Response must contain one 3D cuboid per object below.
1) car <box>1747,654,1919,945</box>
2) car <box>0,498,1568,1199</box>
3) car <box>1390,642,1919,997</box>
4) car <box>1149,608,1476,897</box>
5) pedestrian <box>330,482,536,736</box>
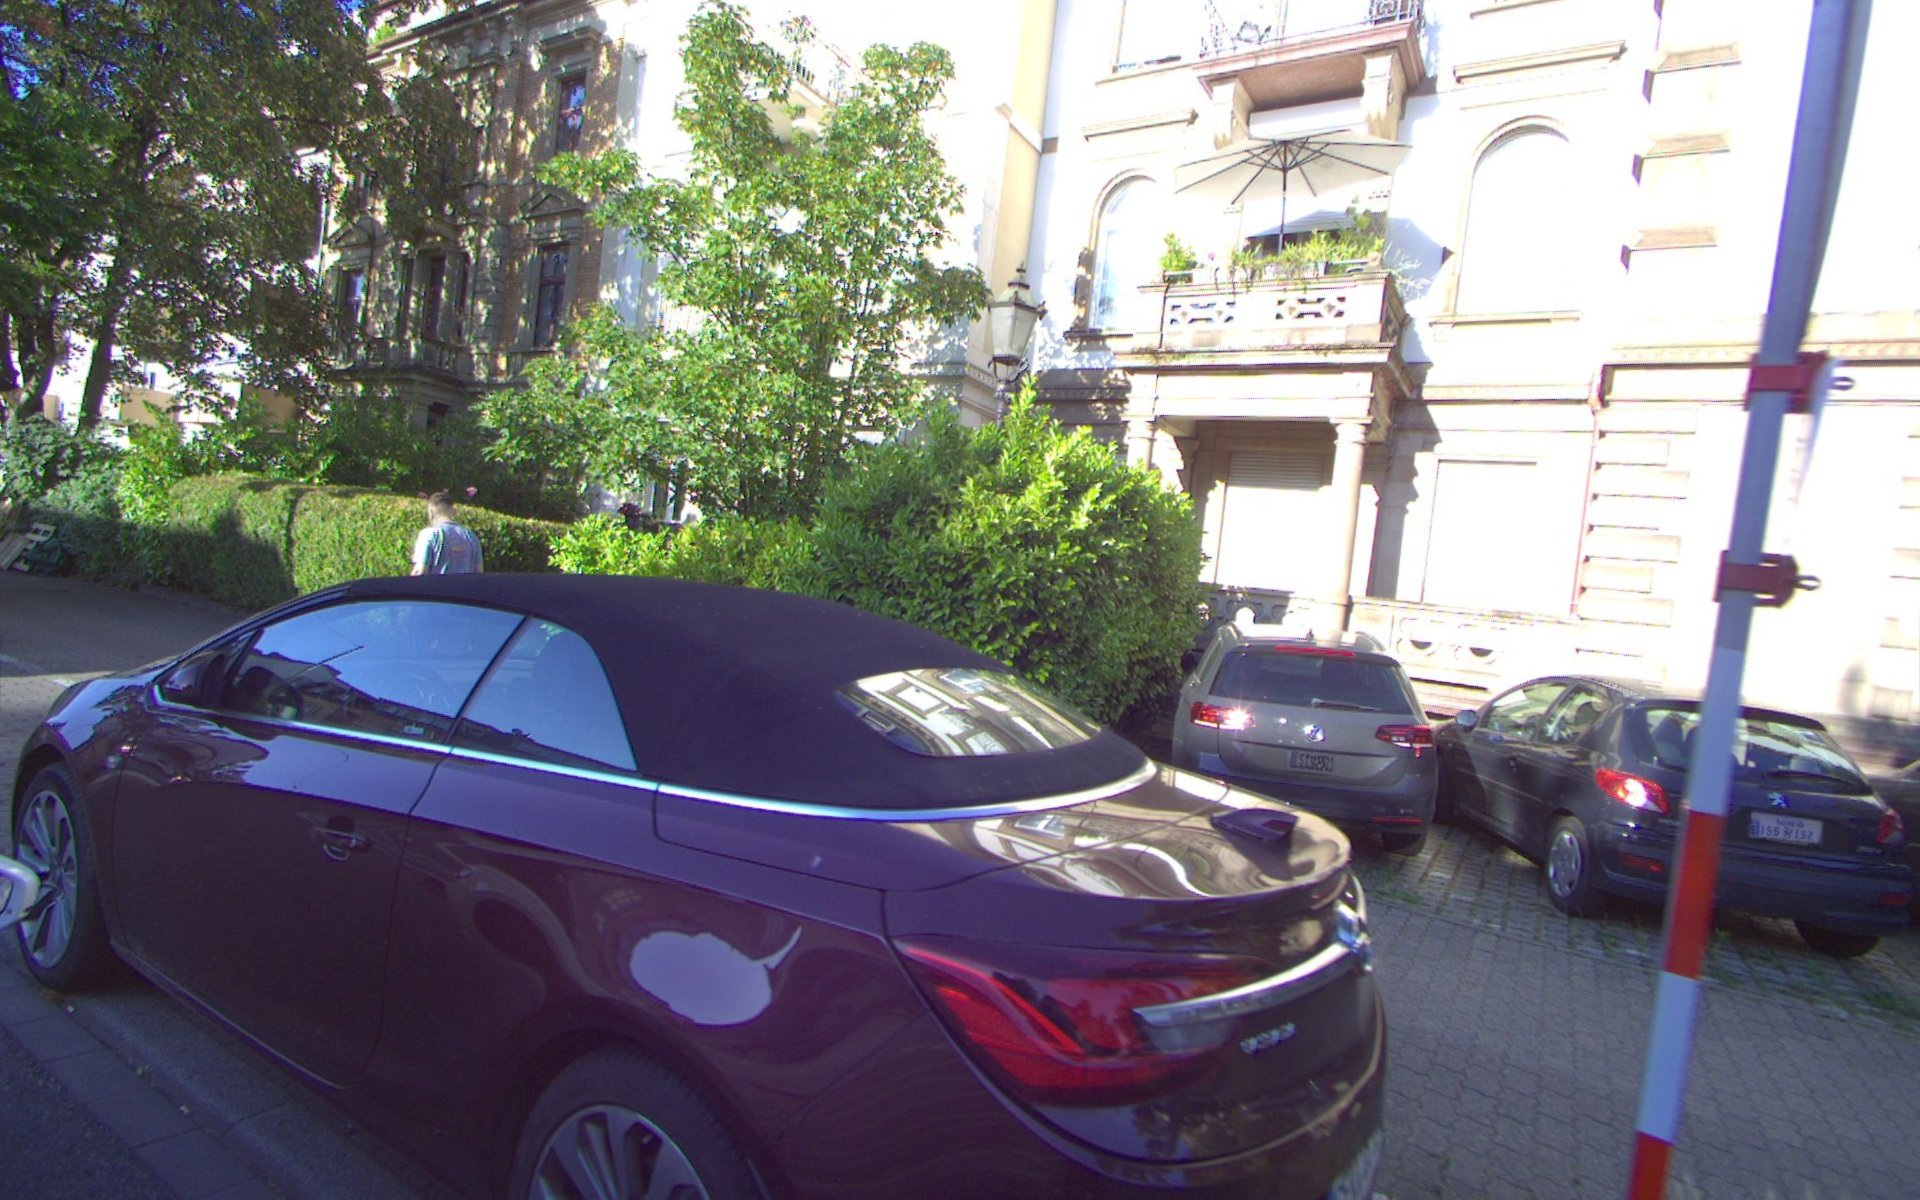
[{"bbox_3d":[6.831,1.363,5.507,1.754,1.721,4.099,6,0,2],"label":"car"},{"bbox_3d":[-0.949,0.624,2.952,4.538,1.439,1.758,7,2,31],"label":"car"},{"bbox_3d":[4.628,1.223,7.256,1.684,1.460,4.099,7,1,9],"label":"car"},{"bbox_3d":[2.638,0.938,8.299,1.758,1.530,4.250,7,1,13],"label":"car"},{"bbox_3d":[-4.131,0.065,7.903,1.070,1.796,0.822,7,1,28],"label":"pedestrian"}]
